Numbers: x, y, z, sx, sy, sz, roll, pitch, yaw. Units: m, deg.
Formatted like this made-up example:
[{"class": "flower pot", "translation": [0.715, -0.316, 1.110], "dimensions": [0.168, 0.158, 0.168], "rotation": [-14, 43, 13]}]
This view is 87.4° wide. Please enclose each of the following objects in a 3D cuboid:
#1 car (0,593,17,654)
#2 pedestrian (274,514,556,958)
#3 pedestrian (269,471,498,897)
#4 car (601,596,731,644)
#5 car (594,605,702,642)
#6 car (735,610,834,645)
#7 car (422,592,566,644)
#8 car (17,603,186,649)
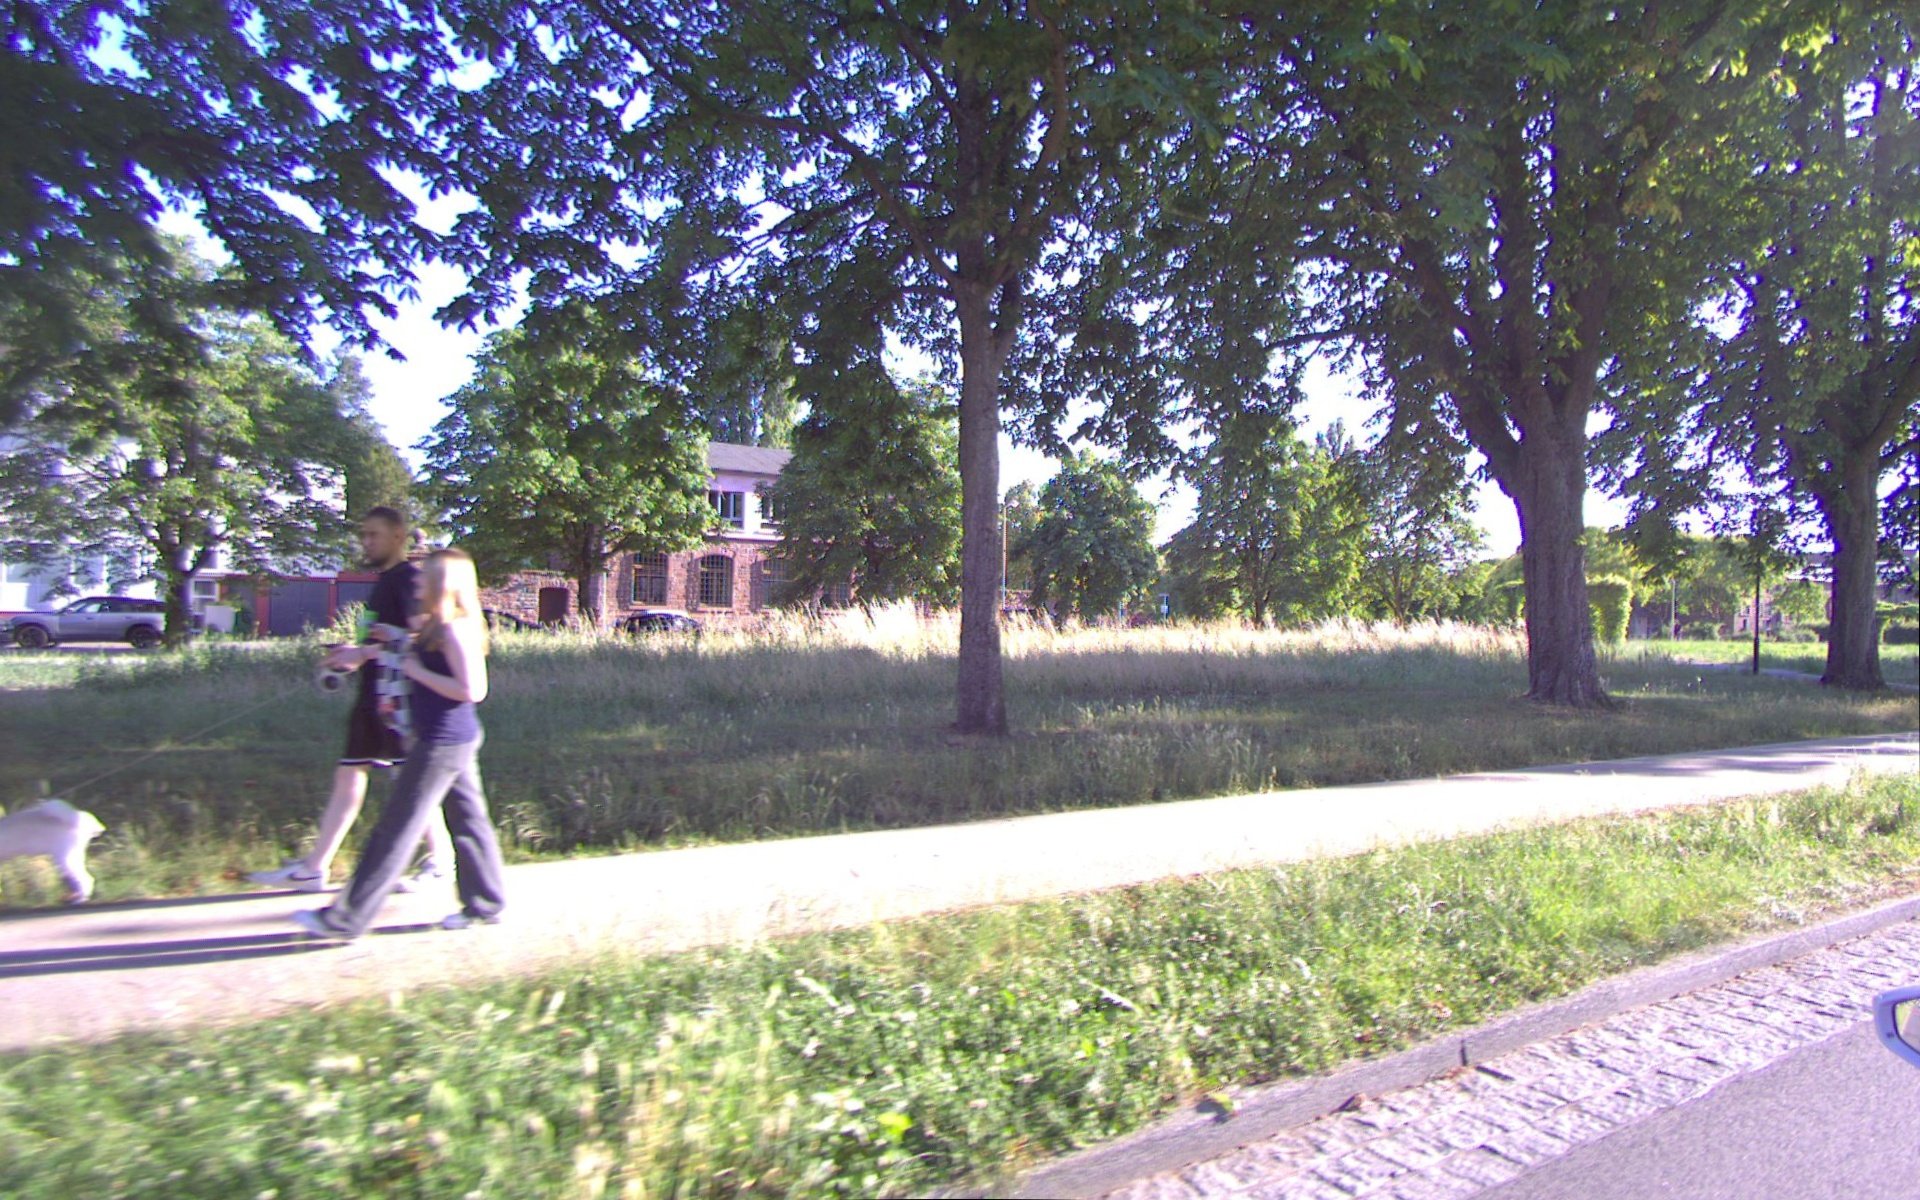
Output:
[{"class": "car", "translation": [-27.598, 0.564, 26.126], "dimensions": [4.173, 1.619, 1.684], "rotation": [2, 0, -31]}, {"class": "pedestrian", "translation": [-2.261, 0.511, 4.265], "dimensions": [0.939, 1.636, 0.780], "rotation": [1, 0, -26]}, {"class": "pedestrian", "translation": [-2.736, 0.373, 4.854], "dimensions": [0.874, 1.855, 0.622], "rotation": [1, 0, -26]}, {"class": "car", "translation": [-10.499, 0.713, 35.912], "dimensions": [4.173, 1.619, 1.684], "rotation": [2, 0, -31]}, {"class": "car", "translation": [-12.735, 0.970, 41.034], "dimensions": [3.953, 1.424, 1.621], "rotation": [1, 0, -30]}, {"class": "car", "translation": [-7.608, 1.209, 43.629], "dimensions": [3.953, 1.424, 1.621], "rotation": [1, 0, -30]}, {"class": "car", "translation": [-15.388, 0.607, 33.217], "dimensions": [4.173, 1.619, 1.684], "rotation": [2, 0, -31]}, {"class": "car", "translation": [-27.326, 0.844, 32.127], "dimensions": [3.805, 1.350, 1.563], "rotation": [2, 0, -29]}]
